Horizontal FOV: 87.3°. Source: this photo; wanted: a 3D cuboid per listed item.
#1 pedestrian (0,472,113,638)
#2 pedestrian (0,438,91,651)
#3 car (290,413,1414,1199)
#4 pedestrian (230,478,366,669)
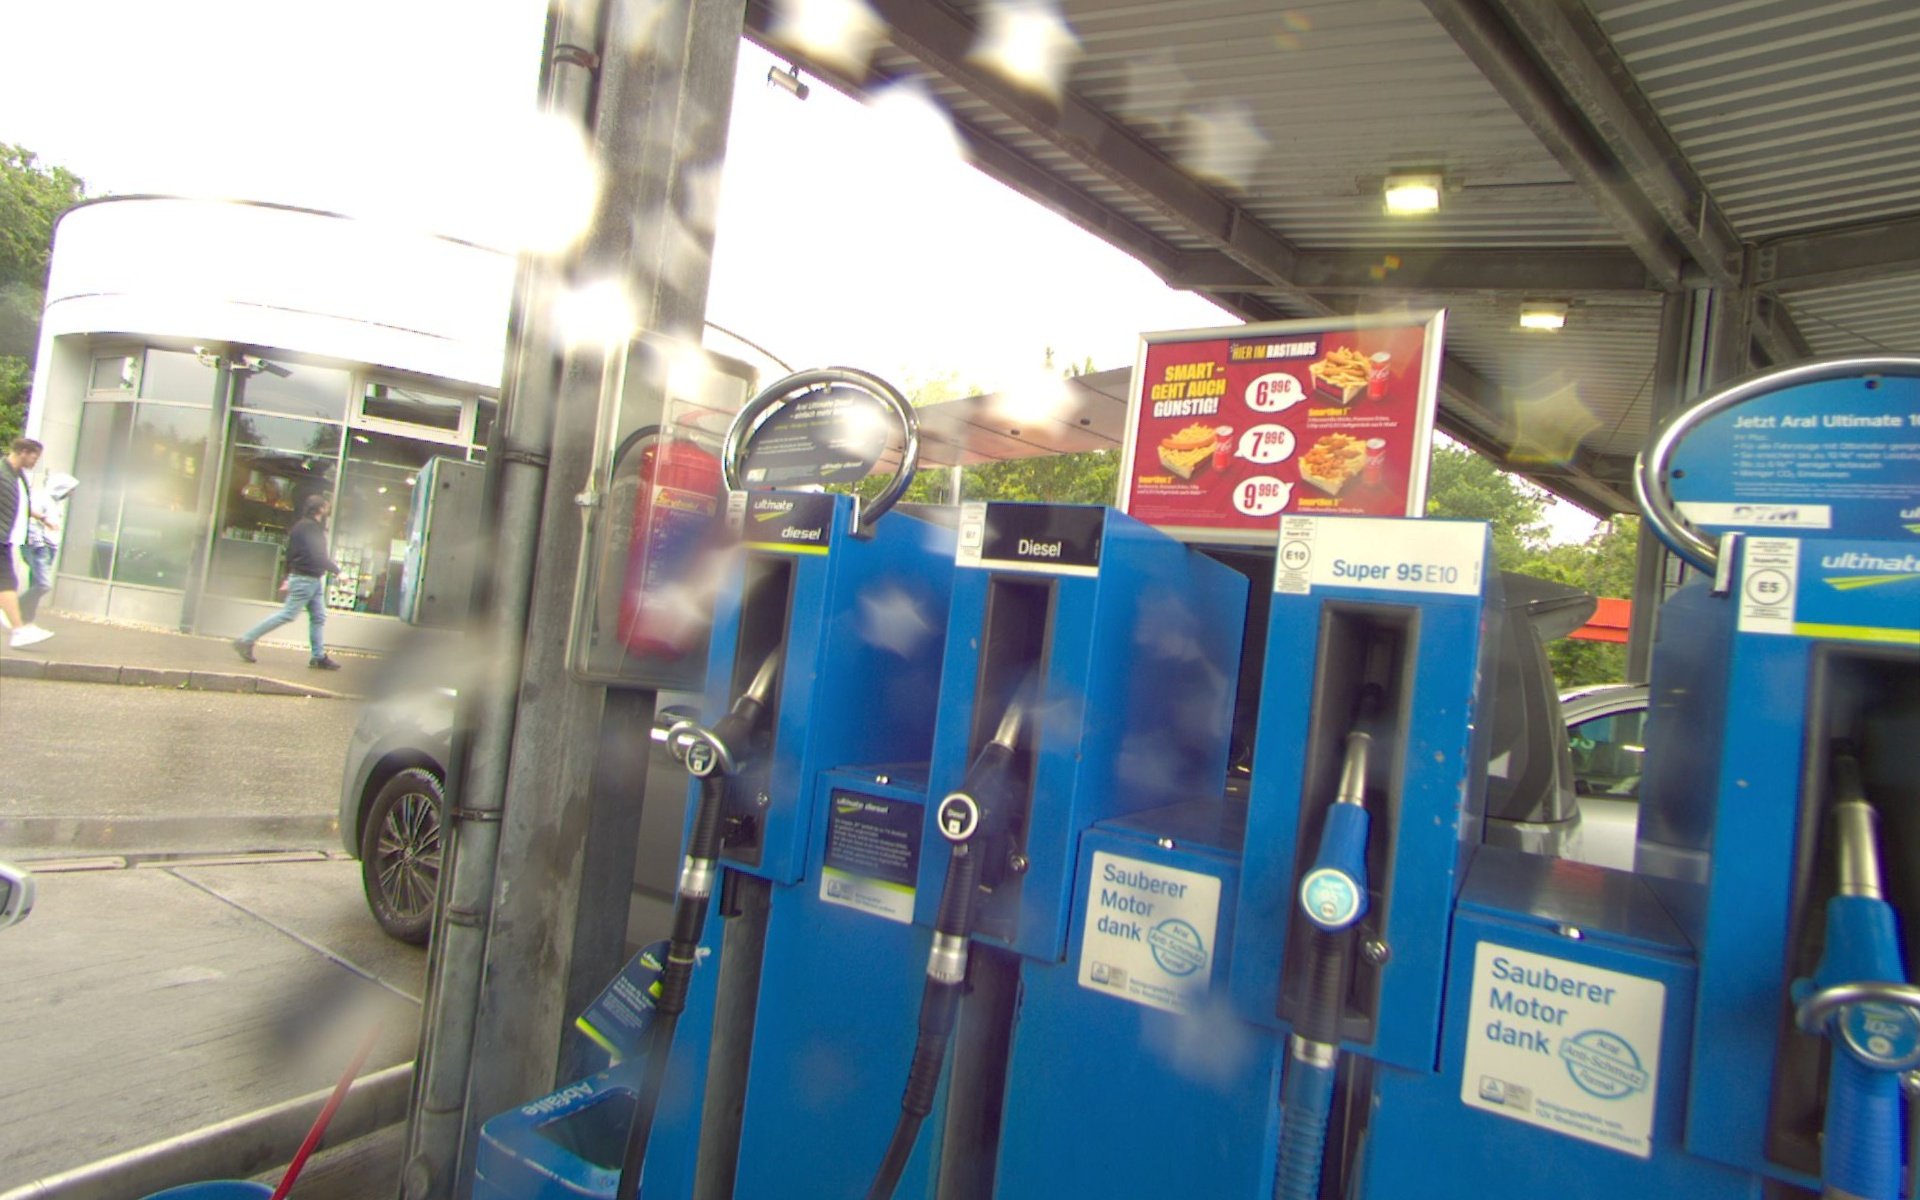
[{"bbox_3d":[-9.413,-0.457,10.299,0.882,1.569,0.655,7,0,-29],"label":"pedestrian"},{"bbox_3d":[-8.863,-0.537,9.297,0.965,1.871,0.767,7,0,-30],"label":"pedestrian"},{"bbox_3d":[-0.569,0.478,3.972,3.934,1.971,1.819,7,-1,32],"label":"car"},{"bbox_3d":[-7.125,-0.274,10.887,0.990,1.887,0.793,7,0,-30],"label":"pedestrian"}]
